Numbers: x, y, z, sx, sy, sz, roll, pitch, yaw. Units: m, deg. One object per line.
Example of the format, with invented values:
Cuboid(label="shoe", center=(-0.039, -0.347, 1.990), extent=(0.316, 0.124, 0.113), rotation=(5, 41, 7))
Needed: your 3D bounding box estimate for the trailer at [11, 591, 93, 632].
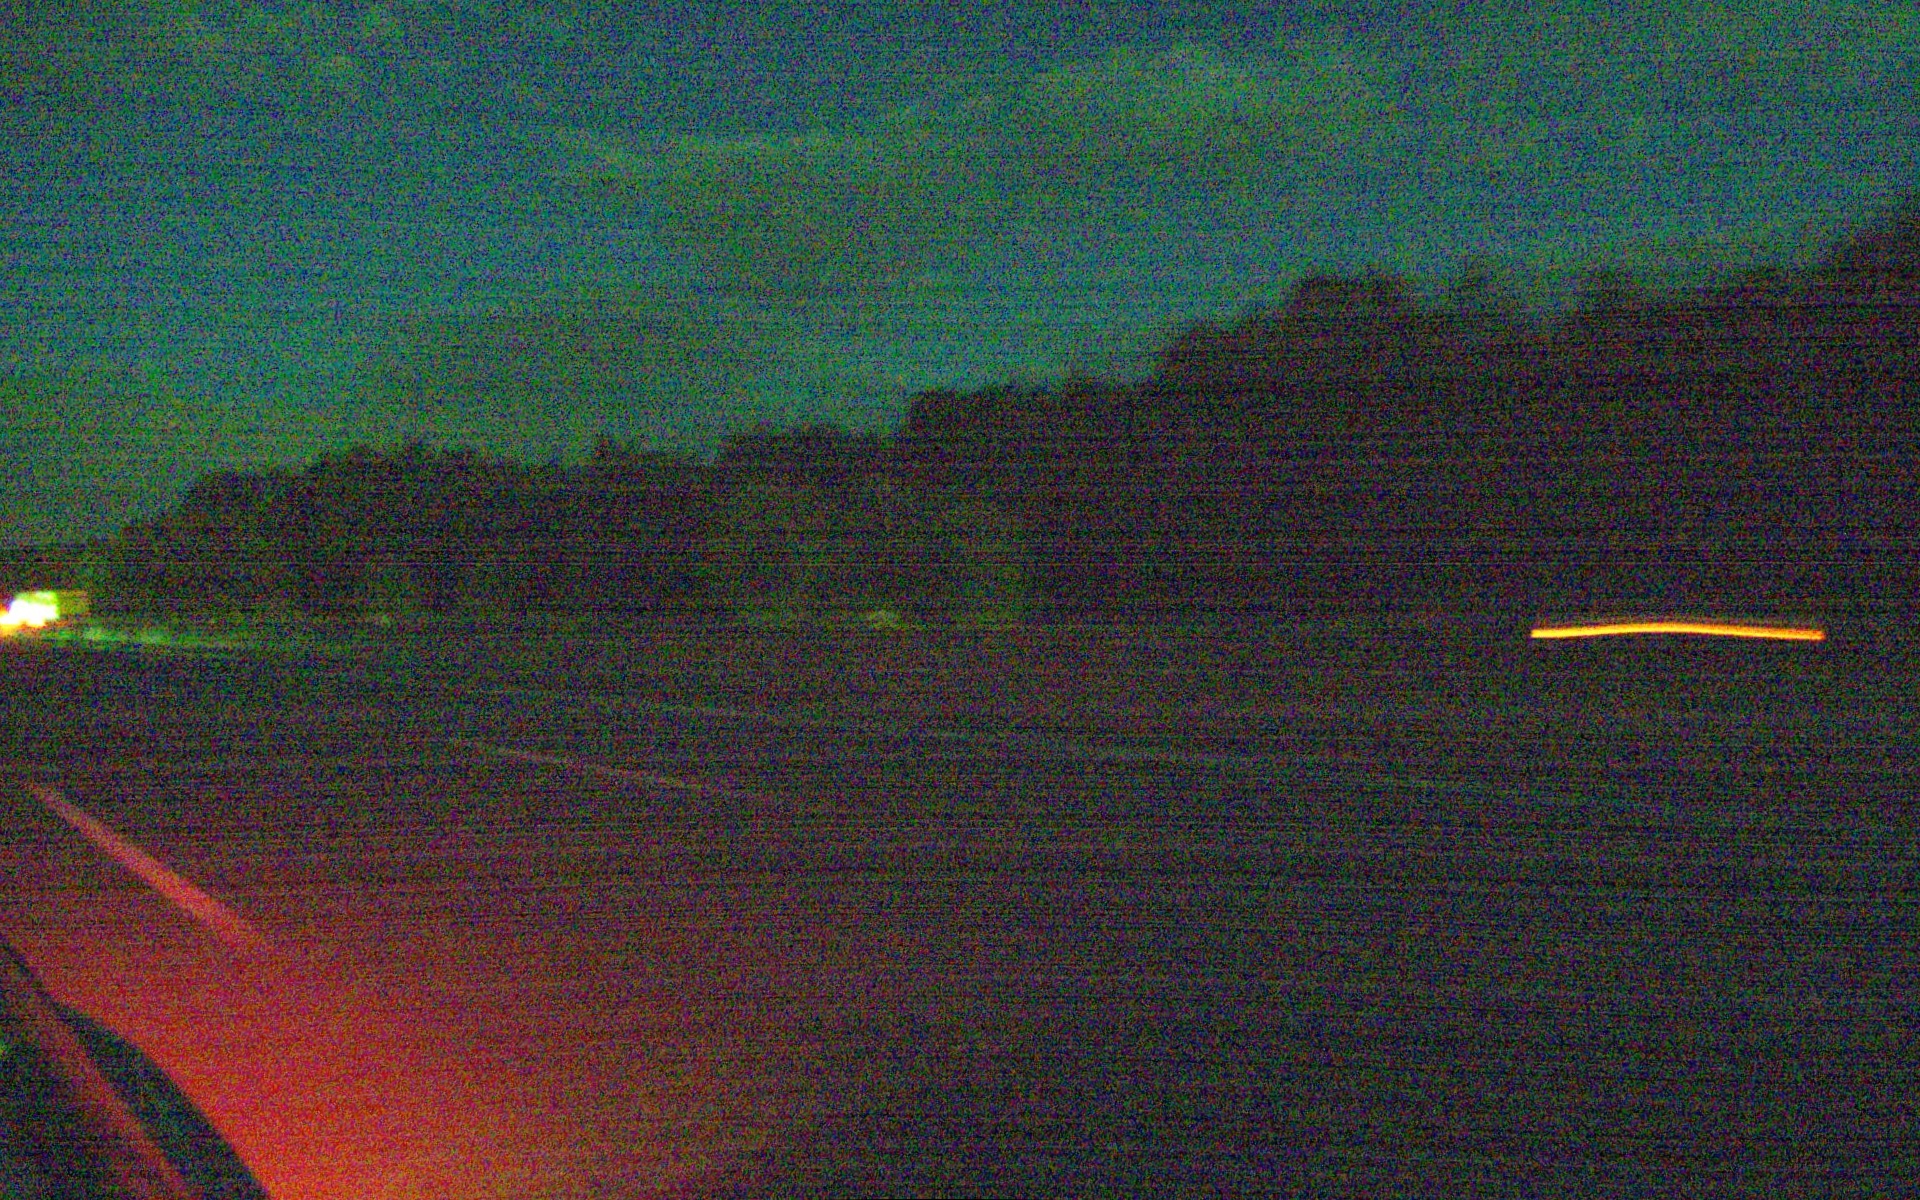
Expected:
Cuboid(label="trailer", center=(-96.393, 1.240, 107.280), extent=(17.258, 4.030, 3.509), rotation=(-1, -1, 38))

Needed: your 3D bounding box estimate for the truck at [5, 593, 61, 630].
Cuboid(label="truck", center=(-103.039, 1.288, 112.461), extent=(6.689, 4.000, 3.469), rotation=(-1, -1, 37))

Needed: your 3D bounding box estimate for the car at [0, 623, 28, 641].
Cuboid(label="car", center=(-81.963, 2.743, 87.061), extent=(4.393, 1.479, 1.974), rotation=(-1, -1, 38))

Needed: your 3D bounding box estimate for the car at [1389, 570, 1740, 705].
Cuboid(label="car", center=(9.292, 0.521, 15.768), extent=(4.399, 1.800, 1.972), rotation=(-1, -1, 42))
